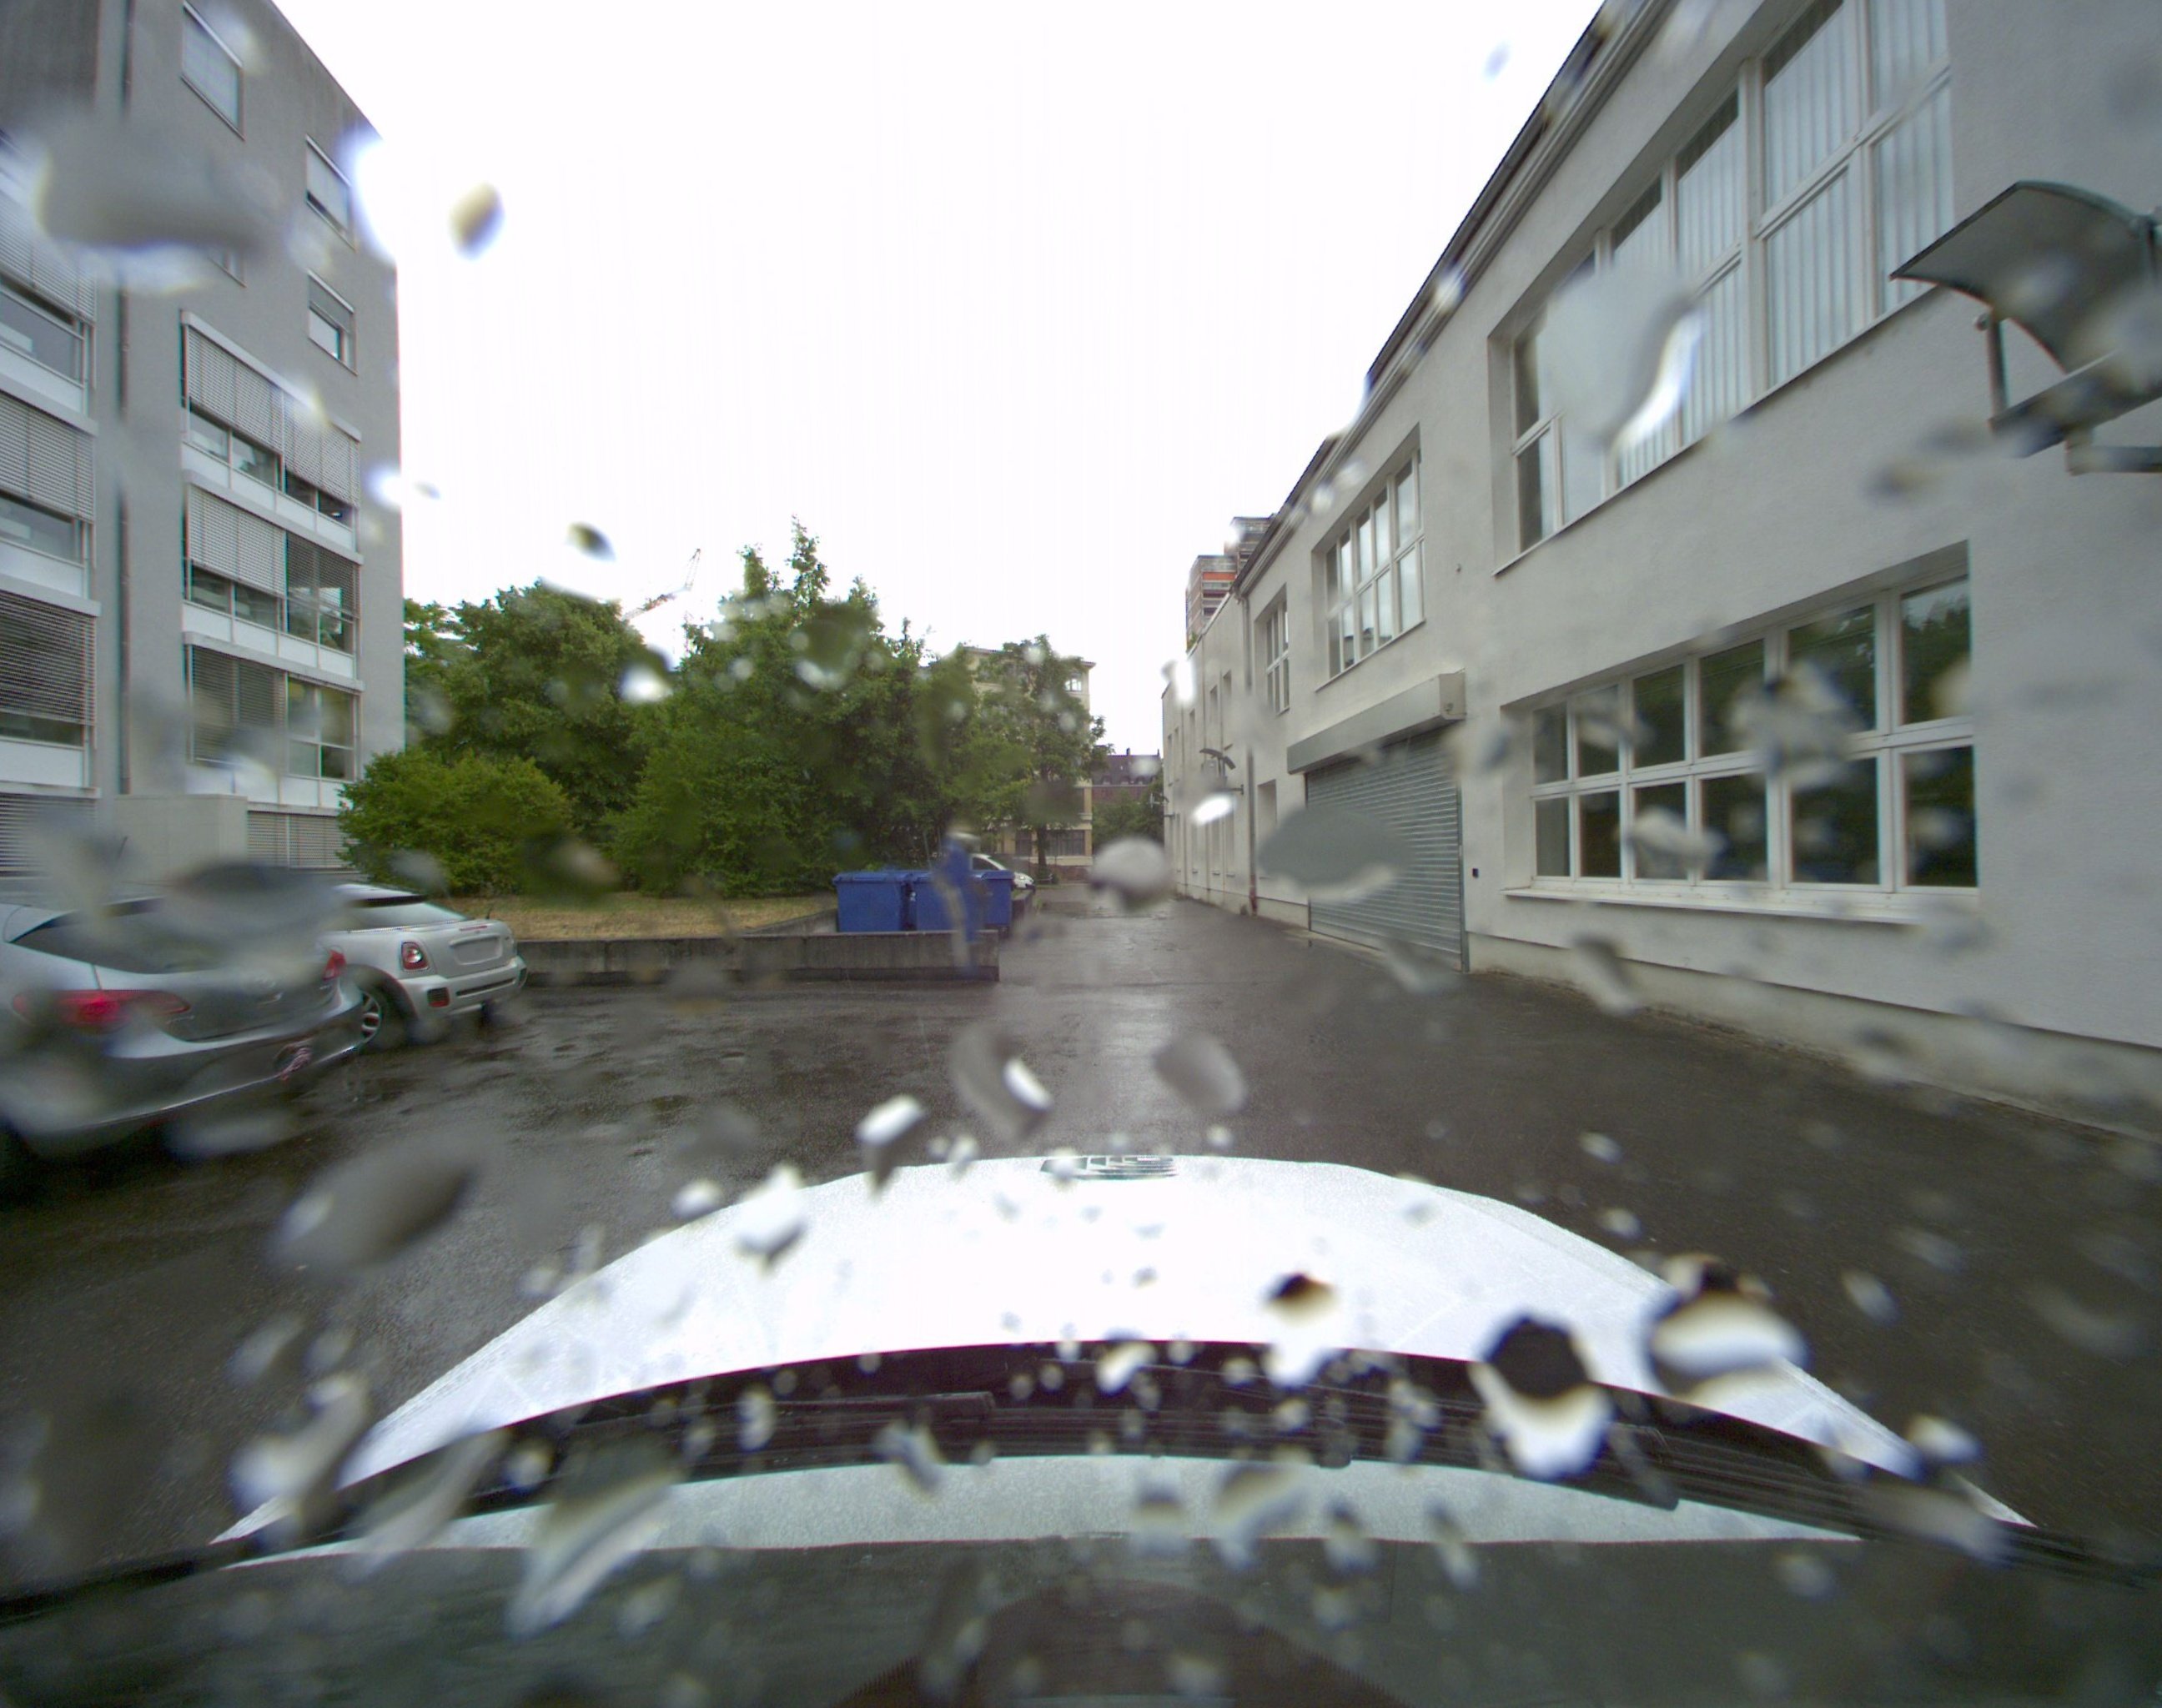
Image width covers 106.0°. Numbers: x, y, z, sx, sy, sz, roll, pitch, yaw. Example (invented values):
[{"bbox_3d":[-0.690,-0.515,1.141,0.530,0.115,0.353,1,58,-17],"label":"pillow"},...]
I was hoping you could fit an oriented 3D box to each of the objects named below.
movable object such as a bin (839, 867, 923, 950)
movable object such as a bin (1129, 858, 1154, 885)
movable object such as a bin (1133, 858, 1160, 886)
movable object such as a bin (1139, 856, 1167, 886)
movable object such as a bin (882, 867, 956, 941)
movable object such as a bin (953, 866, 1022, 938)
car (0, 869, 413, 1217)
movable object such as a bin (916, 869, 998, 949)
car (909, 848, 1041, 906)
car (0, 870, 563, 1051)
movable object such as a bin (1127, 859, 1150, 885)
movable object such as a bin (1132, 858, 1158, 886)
[{"bbox_3d":[-3.476,0.934,14.275,1.199,1.337,1.116,1,1,-1],"label":"movable object such as a bin"},{"bbox_3d":[3.372,1.003,45.694,1.212,1.437,1.257,-1,-3,-3],"label":"movable object such as a bin"},{"bbox_3d":[3.407,0.941,42.686,1.212,1.437,1.292,-1,-3,-3],"label":"movable object such as a bin"},{"bbox_3d":[3.598,0.873,40.991,1.212,1.437,1.234,-1,-3,-4],"label":"movable object such as a bin"},{"bbox_3d":[-3.145,0.957,15.928,1.218,1.337,1.006,-1,1,-1],"label":"movable object such as a bin"},{"bbox_3d":[-1.826,0.925,16.093,1.218,1.337,1.006,-1,0,-1],"label":"movable object such as a bin"},{"bbox_3d":[-6.459,0.883,4.296,4.161,1.483,1.818,-1,0,-7],"label":"car"},{"bbox_3d":[-2.157,0.944,14.344,1.198,1.337,1.117,-1,-1,3],"label":"movable object such as a bin"},{"bbox_3d":[-3.996,0.846,31.330,4.766,2.013,1.999,-2,0,-1],"label":"car"},{"bbox_3d":[-7.375,0.882,7.317,4.159,1.333,1.819,1,0,-6],"label":"car"},{"bbox_3d":[3.317,1.067,47.069,1.212,1.437,1.257,-1,-3,-3],"label":"movable object such as a bin"},{"bbox_3d":[3.468,0.973,44.322,1.212,1.468,1.234,-1,-3,-4],"label":"movable object such as a bin"}]
